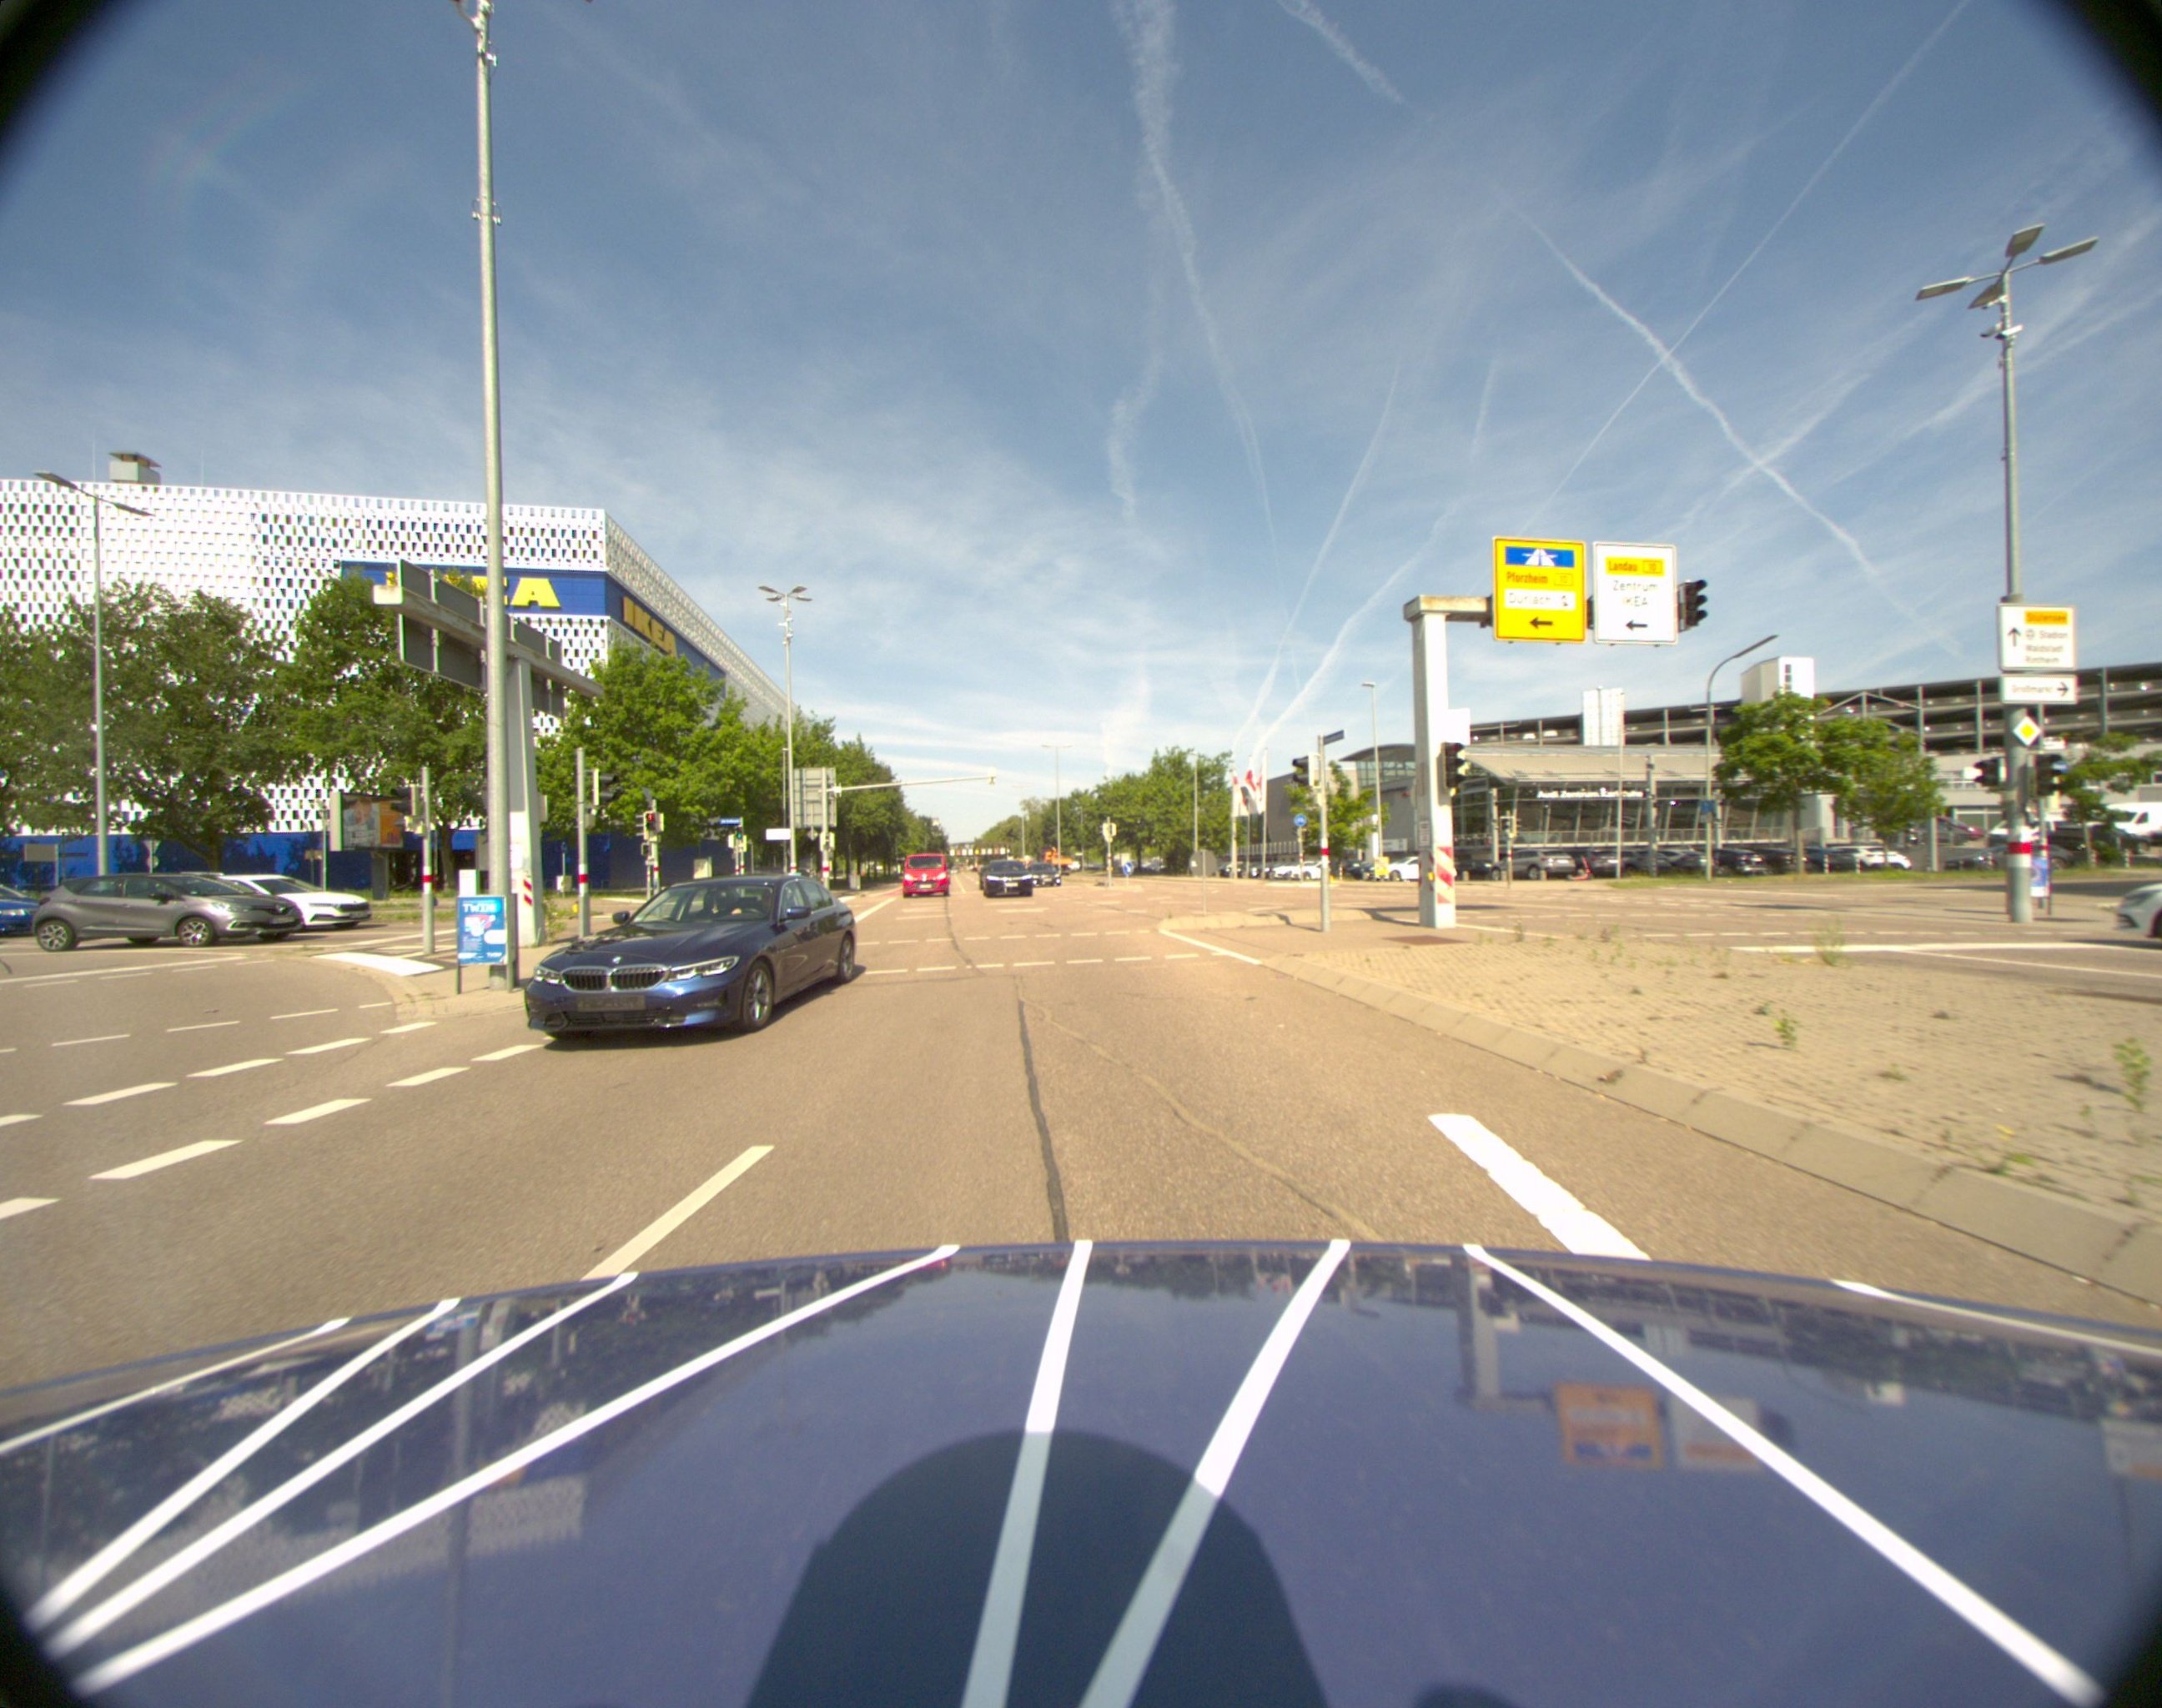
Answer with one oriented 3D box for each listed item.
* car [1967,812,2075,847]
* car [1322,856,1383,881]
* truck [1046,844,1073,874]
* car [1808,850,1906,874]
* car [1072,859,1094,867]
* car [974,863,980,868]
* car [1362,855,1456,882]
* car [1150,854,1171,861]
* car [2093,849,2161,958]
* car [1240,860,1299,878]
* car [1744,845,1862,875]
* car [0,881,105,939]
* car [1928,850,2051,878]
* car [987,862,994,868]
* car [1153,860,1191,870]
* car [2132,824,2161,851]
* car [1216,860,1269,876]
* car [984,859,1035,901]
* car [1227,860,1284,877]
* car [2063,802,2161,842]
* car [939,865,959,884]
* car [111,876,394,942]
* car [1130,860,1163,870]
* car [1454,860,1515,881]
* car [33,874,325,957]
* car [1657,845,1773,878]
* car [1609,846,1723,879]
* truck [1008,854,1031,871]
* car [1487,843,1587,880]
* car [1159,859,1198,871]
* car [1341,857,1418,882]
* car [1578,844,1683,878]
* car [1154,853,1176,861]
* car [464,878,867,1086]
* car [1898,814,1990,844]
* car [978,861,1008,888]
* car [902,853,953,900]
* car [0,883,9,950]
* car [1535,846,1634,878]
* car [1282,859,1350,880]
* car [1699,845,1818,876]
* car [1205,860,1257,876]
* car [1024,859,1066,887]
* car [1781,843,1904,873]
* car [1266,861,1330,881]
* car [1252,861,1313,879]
[{"bbox_3d":[55.536,-1.460,44.940,4.548,1.898,2.085,-2,4,-11],"label":"car"},{"bbox_3d":[17.444,0.928,48.999,1.804,1.487,4.422,-1,-1,-9],"label":"car"},{"bbox_3d":[-2.829,0.664,98.820,2.755,3.658,7.575,-1,0,-7],"label":"truck"},{"bbox_3d":[49.527,0.529,48.584,4.018,1.433,1.800,-1,0,20],"label":"car"},{"bbox_3d":[0.344,1.886,154.023,4.200,1.490,1.689,1,-1,-8],"label":"car"},{"bbox_3d":[-33.374,3.796,244.354,1.867,1.503,3.998,-1,-1,-7],"label":"car"},{"bbox_3d":[18.176,0.794,42.197,4.386,1.423,1.898,-1,0,-7],"label":"car"},{"bbox_3d":[16.479,0.731,157.464,4.200,1.490,1.689,1,-1,-8],"label":"car"},{"bbox_3d":[15.540,0.646,8.739,1.788,1.452,4.329,0,-1,-12],"label":"car"},{"bbox_3d":[14.957,1.200,60.449,4.189,1.327,1.853,1,-1,-10],"label":"car"},{"bbox_3d":[39.089,0.389,41.310,1.793,1.433,4.400,-1,-3,-10],"label":"car"},{"bbox_3d":[-27.735,1.429,18.991,4.057,1.334,1.723,-1,0,-6],"label":"car"},{"bbox_3d":[50.077,0.564,41.984,4.019,1.433,1.800,-1,0,17],"label":"car"},{"bbox_3d":[-24.418,2.984,205.454,1.734,1.430,3.867,0,-1,-9],"label":"car"},{"bbox_3d":[10.822,1.313,90.538,4.200,1.188,1.689,1,-1,-8],"label":"car"},{"bbox_3d":[66.765,-1.077,46.043,3.986,1.565,1.999,-2,0,-8],"label":"car"},{"bbox_3d":[14.046,1.216,66.052,4.125,1.346,1.834,1,-1,-11],"label":"car"},{"bbox_3d":[-3.028,1.038,31.628,1.849,1.530,3.997,-3,0,-8],"label":"car"},{"bbox_3d":[14.543,1.208,63.395,4.295,1.346,1.828,1,-1,-11],"label":"car"},{"bbox_3d":[66.434,-2.038,48.477,5.551,2.328,2.087,-2,-1,-8],"label":"car"},{"bbox_3d":[-12.186,1.868,70.061,1.650,1.530,3.997,-5,0,-11],"label":"car"},{"bbox_3d":[-20.882,1.344,19.356,4.731,1.417,1.958,-1,1,-6],"label":"car"},{"bbox_3d":[8.951,1.488,103.396,4.200,1.247,1.689,1,-1,-8],"label":"car"},{"bbox_3d":[26.526,1.067,50.086,1.611,1.298,3.680,-1,0,-10],"label":"car"},{"bbox_3d":[-19.349,1.277,16.467,3.896,1.549,1.808,-1,0,-5],"label":"car"},{"bbox_3d":[33.774,0.452,40.665,1.784,1.507,4.672,-1,-3,-10],"label":"car"},{"bbox_3d":[30.930,0.484,40.382,1.793,1.496,4.775,-1,-3,-10],"label":"car"},{"bbox_3d":[-10.227,1.509,125.936,2.384,2.609,6.665,-3,-1,-16],"label":"truck"},{"bbox_3d":[23.044,0.426,38.641,1.819,1.603,4.594,-1,-3,-9],"label":"car"},{"bbox_3d":[11.328,1.291,88.093,4.200,1.239,1.689,1,-1,-8],"label":"car"},{"bbox_3d":[17.530,0.894,44.615,3.847,1.394,1.762,-1,0,-11],"label":"car"},{"bbox_3d":[28.480,0.404,39.568,1.793,1.534,4.374,-1,-3,-10],"label":"car"},{"bbox_3d":[17.134,0.686,154.997,4.200,1.490,1.689,1,-1,-8],"label":"car"},{"bbox_3d":[-3.816,1.053,8.092,1.800,1.420,4.538,-2,-1,-1],"label":"car"},{"bbox_3d":[63.579,-1.805,56.065,1.853,2.001,4.067,-1,-1,-10],"label":"car"},{"bbox_3d":[-5.438,1.250,46.741,1.561,1.499,3.836,-3,0,-10],"label":"car"},{"bbox_3d":[-7.028,0.976,34.932,2.016,1.896,4.805,-3,0,-11],"label":"car"},{"bbox_3d":[-26.301,1.433,16.104,4.040,1.500,1.907,-1,1,-6],"label":"car"},{"bbox_3d":[25.707,0.459,39.007,1.793,1.433,4.199,-1,-3,-10],"label":"car"},{"bbox_3d":[16.206,1.076,52.496,4.086,1.361,1.877,1,-1,-10],"label":"car"},{"bbox_3d":[36.368,0.413,40.955,1.793,1.433,4.630,-1,-3,-10],"label":"car"},{"bbox_3d":[13.540,1.263,68.710,4.230,1.386,1.801,1,-1,-10],"label":"car"},{"bbox_3d":[-2.247,1.144,46.070,1.884,1.513,4.865,-3,0,-9],"label":"car"},{"bbox_3d":[41.758,0.273,41.838,1.793,1.433,4.557,-1,-2,-10],"label":"car"},{"bbox_3d":[15.721,1.217,55.077,4.000,1.311,1.867,1,-1,-9],"label":"car"},{"bbox_3d":[15.248,1.212,57.603,4.000,1.311,1.836,1,-1,-8],"label":"car"}]
